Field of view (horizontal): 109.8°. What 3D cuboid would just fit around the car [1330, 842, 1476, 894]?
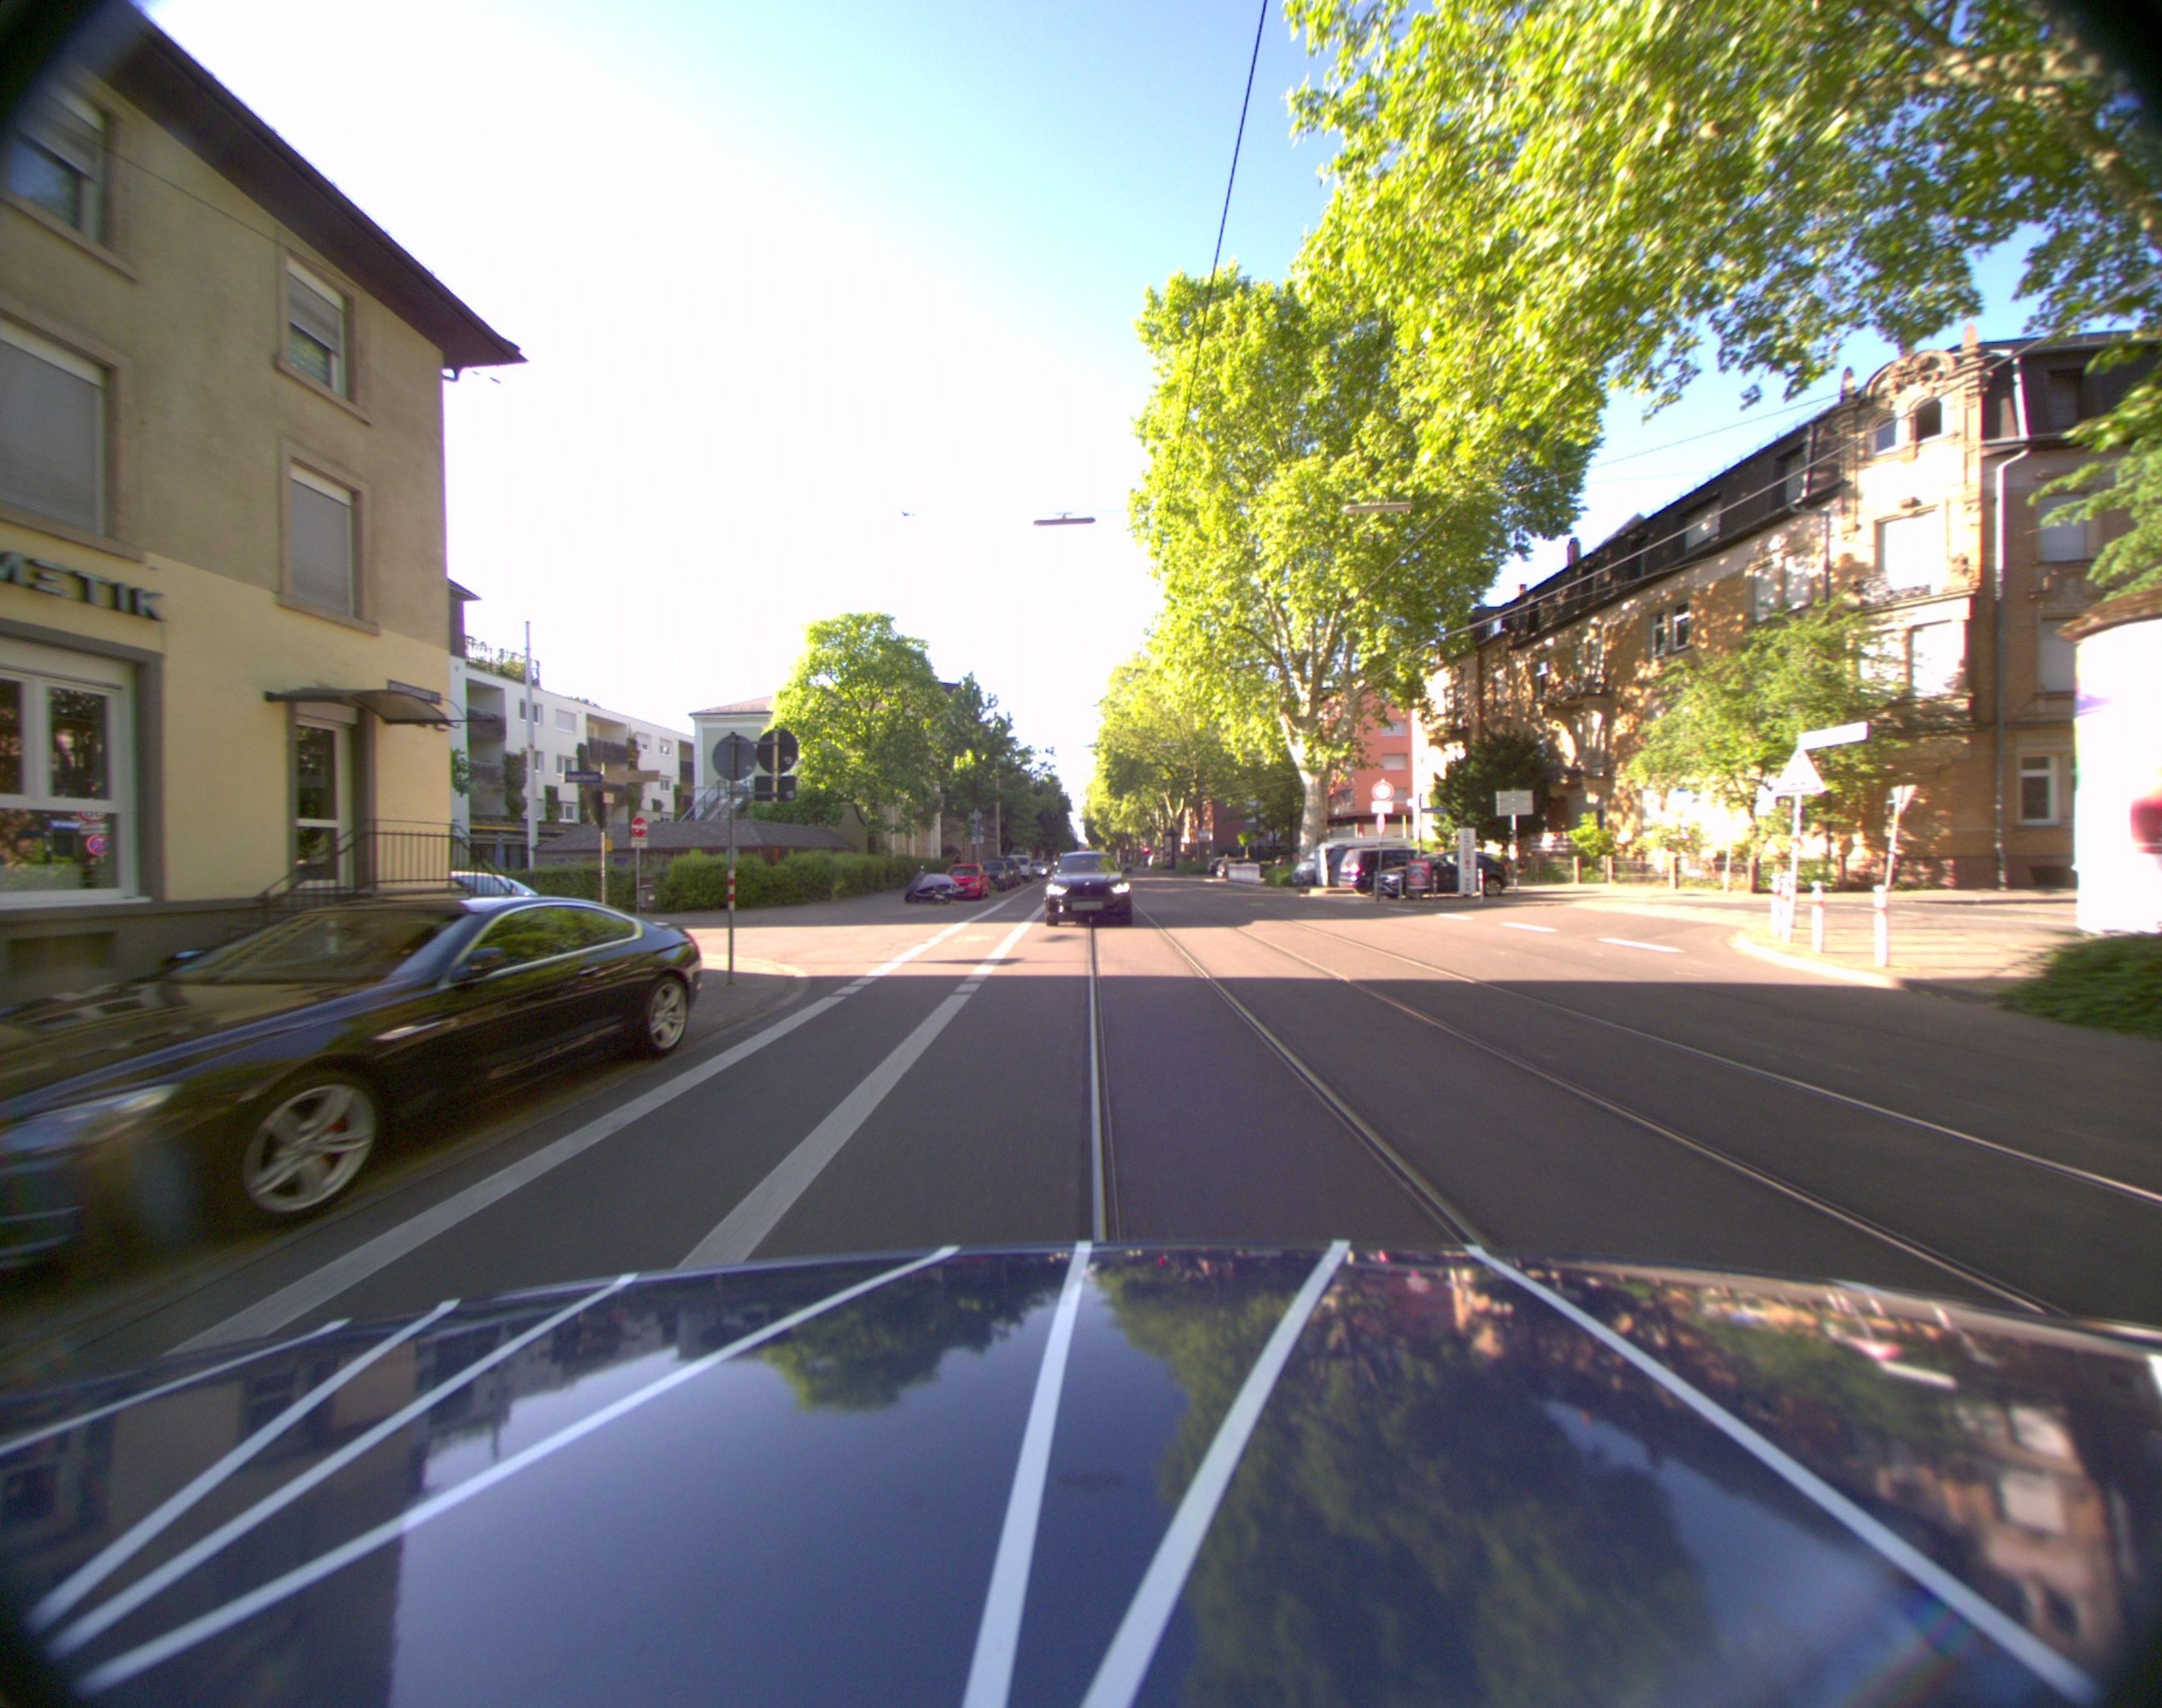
[{"bbox_3d":[11.786,0.508,28.023,4.464,1.755,2.028,-2,0,-1],"label":"car"}]

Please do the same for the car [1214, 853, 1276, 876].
[{"bbox_3d":[11.509,0.745,53.420,3.966,1.506,1.810,-2,0,-1],"label":"car"}]

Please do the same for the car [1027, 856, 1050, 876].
[{"bbox_3d":[-3.923,1.066,70.346,1.815,1.701,4.372,1,0,0],"label":"car"}]

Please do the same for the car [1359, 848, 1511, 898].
[{"bbox_3d":[11.733,0.620,25.371,4.170,1.506,1.925,-2,0,-1],"label":"car"}]

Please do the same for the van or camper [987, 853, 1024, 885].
[{"bbox_3d":[-4.407,0.874,45.173,1.694,1.772,4.443,1,0,0],"label":"van or camper"}]

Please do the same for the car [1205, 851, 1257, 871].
[{"bbox_3d":[12.653,0.591,64.075,3.966,1.506,1.810,-2,0,-1],"label":"car"}]

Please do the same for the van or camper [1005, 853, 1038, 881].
[{"bbox_3d":[-4.199,0.878,54.544,1.882,1.873,4.923,1,0,0],"label":"van or camper"}]

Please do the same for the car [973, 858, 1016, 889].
[{"bbox_3d":[-4.469,1.000,39.709,1.694,1.478,4.143,1,0,0],"label":"car"}]

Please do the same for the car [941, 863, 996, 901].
[{"bbox_3d":[-4.517,1.089,30.854,1.607,1.372,3.864,1,0,0],"label":"car"}]

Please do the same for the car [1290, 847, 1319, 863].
[{"bbox_3d":[21.461,0.059,72.992,1.671,1.438,3.651,1,0,-1],"label":"car"}]

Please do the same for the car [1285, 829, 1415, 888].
[{"bbox_3d":[11.926,0.202,33.875,5.019,2.383,2.028,-2,0,-1],"label":"car"}]

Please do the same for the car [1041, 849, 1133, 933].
[{"bbox_3d":[0.159,0.786,18.719,1.924,1.741,4.806,-2,0,1],"label":"car"}]

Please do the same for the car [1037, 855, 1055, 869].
[{"bbox_3d":[-3.881,0.886,84.688,1.781,1.490,4.372,1,0,0],"label":"car"}]

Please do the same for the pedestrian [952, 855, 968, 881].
[{"bbox_3d":[-7.957,0.895,50.031,0.813,1.668,0.885,-2,1,0],"label":"pedestrian"}]

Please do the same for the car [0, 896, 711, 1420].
[{"bbox_3d":[-4.400,1.090,4.555,1.998,1.372,4.739,1,0,0],"label":"car"}]

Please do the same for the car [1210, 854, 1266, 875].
[{"bbox_3d":[12.064,0.799,58.551,3.966,1.506,1.810,-2,0,-1],"label":"car"}]

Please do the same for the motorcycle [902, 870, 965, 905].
[{"bbox_3d":[-5.285,1.192,27.271,2.071,1.152,0.828,2,1,4],"label":"motorcycle"}]

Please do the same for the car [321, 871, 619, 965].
[{"bbox_3d":[-11.812,1.221,14.878,4.458,1.629,1.904,-2,-2,5],"label":"car"}]

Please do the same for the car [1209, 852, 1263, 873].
[{"bbox_3d":[12.437,0.696,61.198,3.966,1.506,1.810,-2,0,-1],"label":"car"}]

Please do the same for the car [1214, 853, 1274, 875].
[{"bbox_3d":[12.079,0.756,56.481,3.966,1.506,1.810,-2,0,-1],"label":"car"}]
